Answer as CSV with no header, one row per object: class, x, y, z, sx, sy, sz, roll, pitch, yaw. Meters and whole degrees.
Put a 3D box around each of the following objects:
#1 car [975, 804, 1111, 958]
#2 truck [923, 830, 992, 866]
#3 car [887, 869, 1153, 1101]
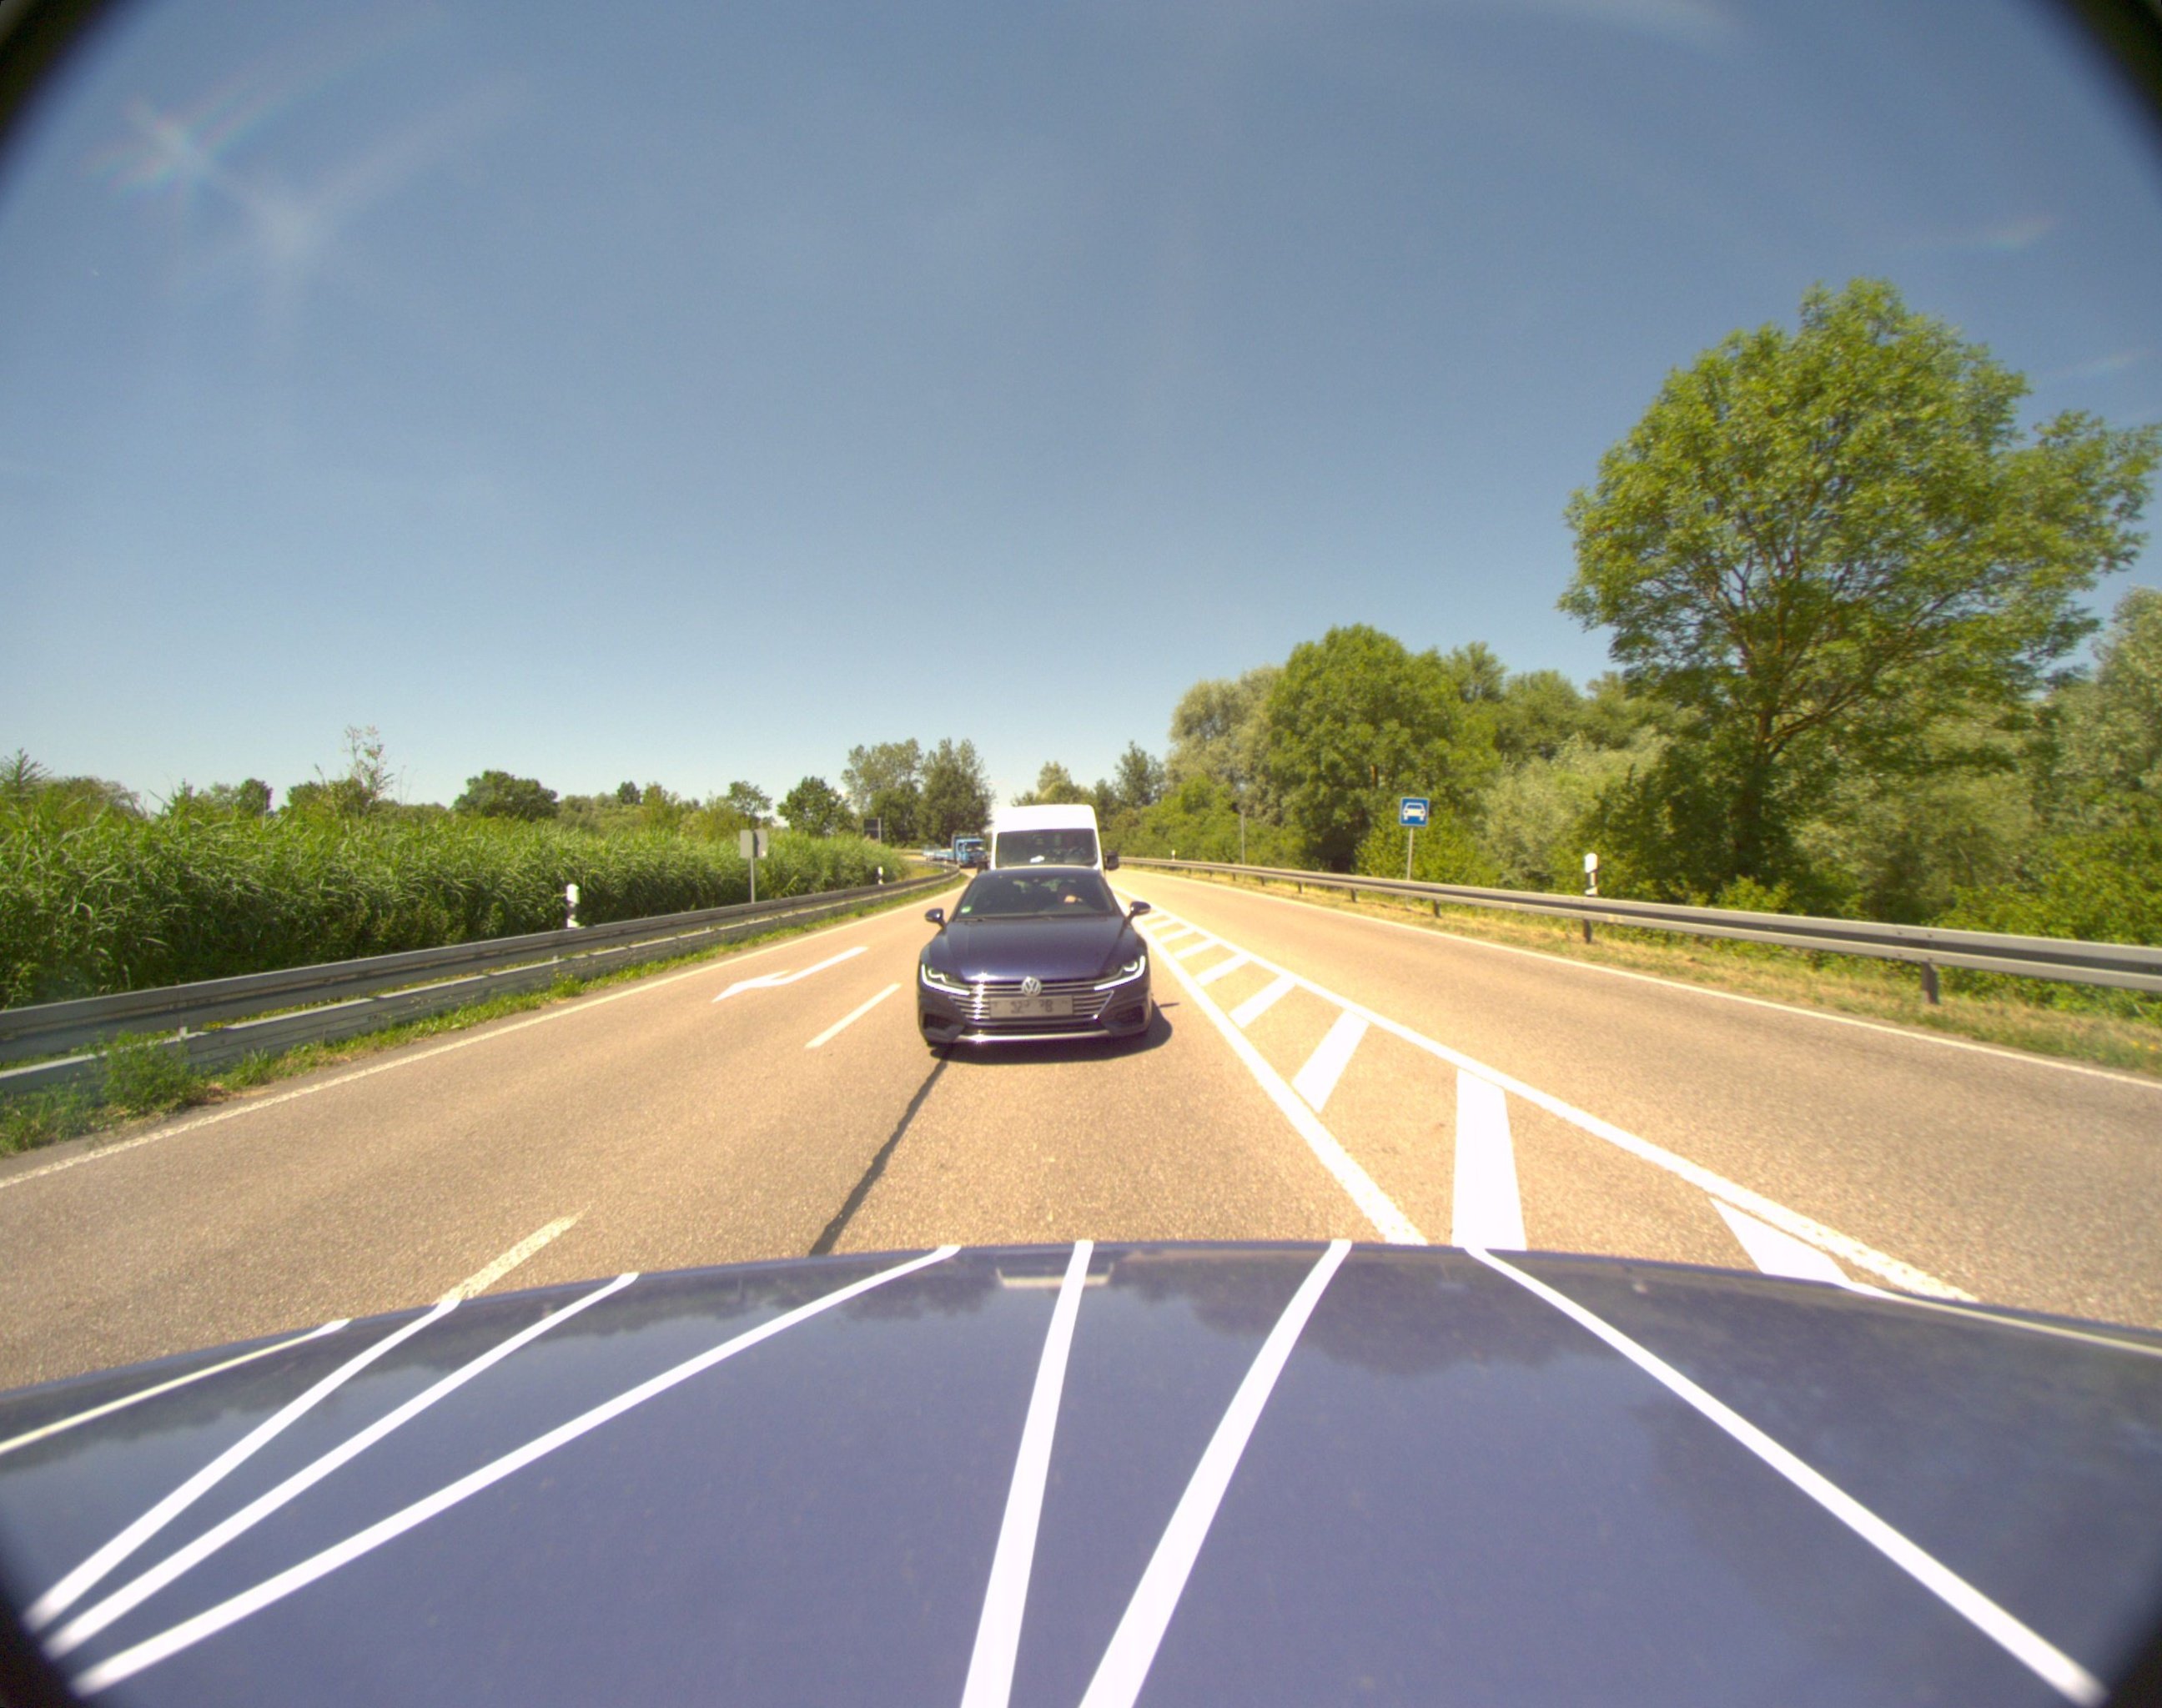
car,-0.591,0.398,14.943,2.059,2.376,5.826,-2,1,0
truck,-11.545,-0.504,70.221,2.582,3.052,9.057,-2,1,-34
car,-0.407,0.940,7.189,1.761,1.401,3.999,-2,1,0
